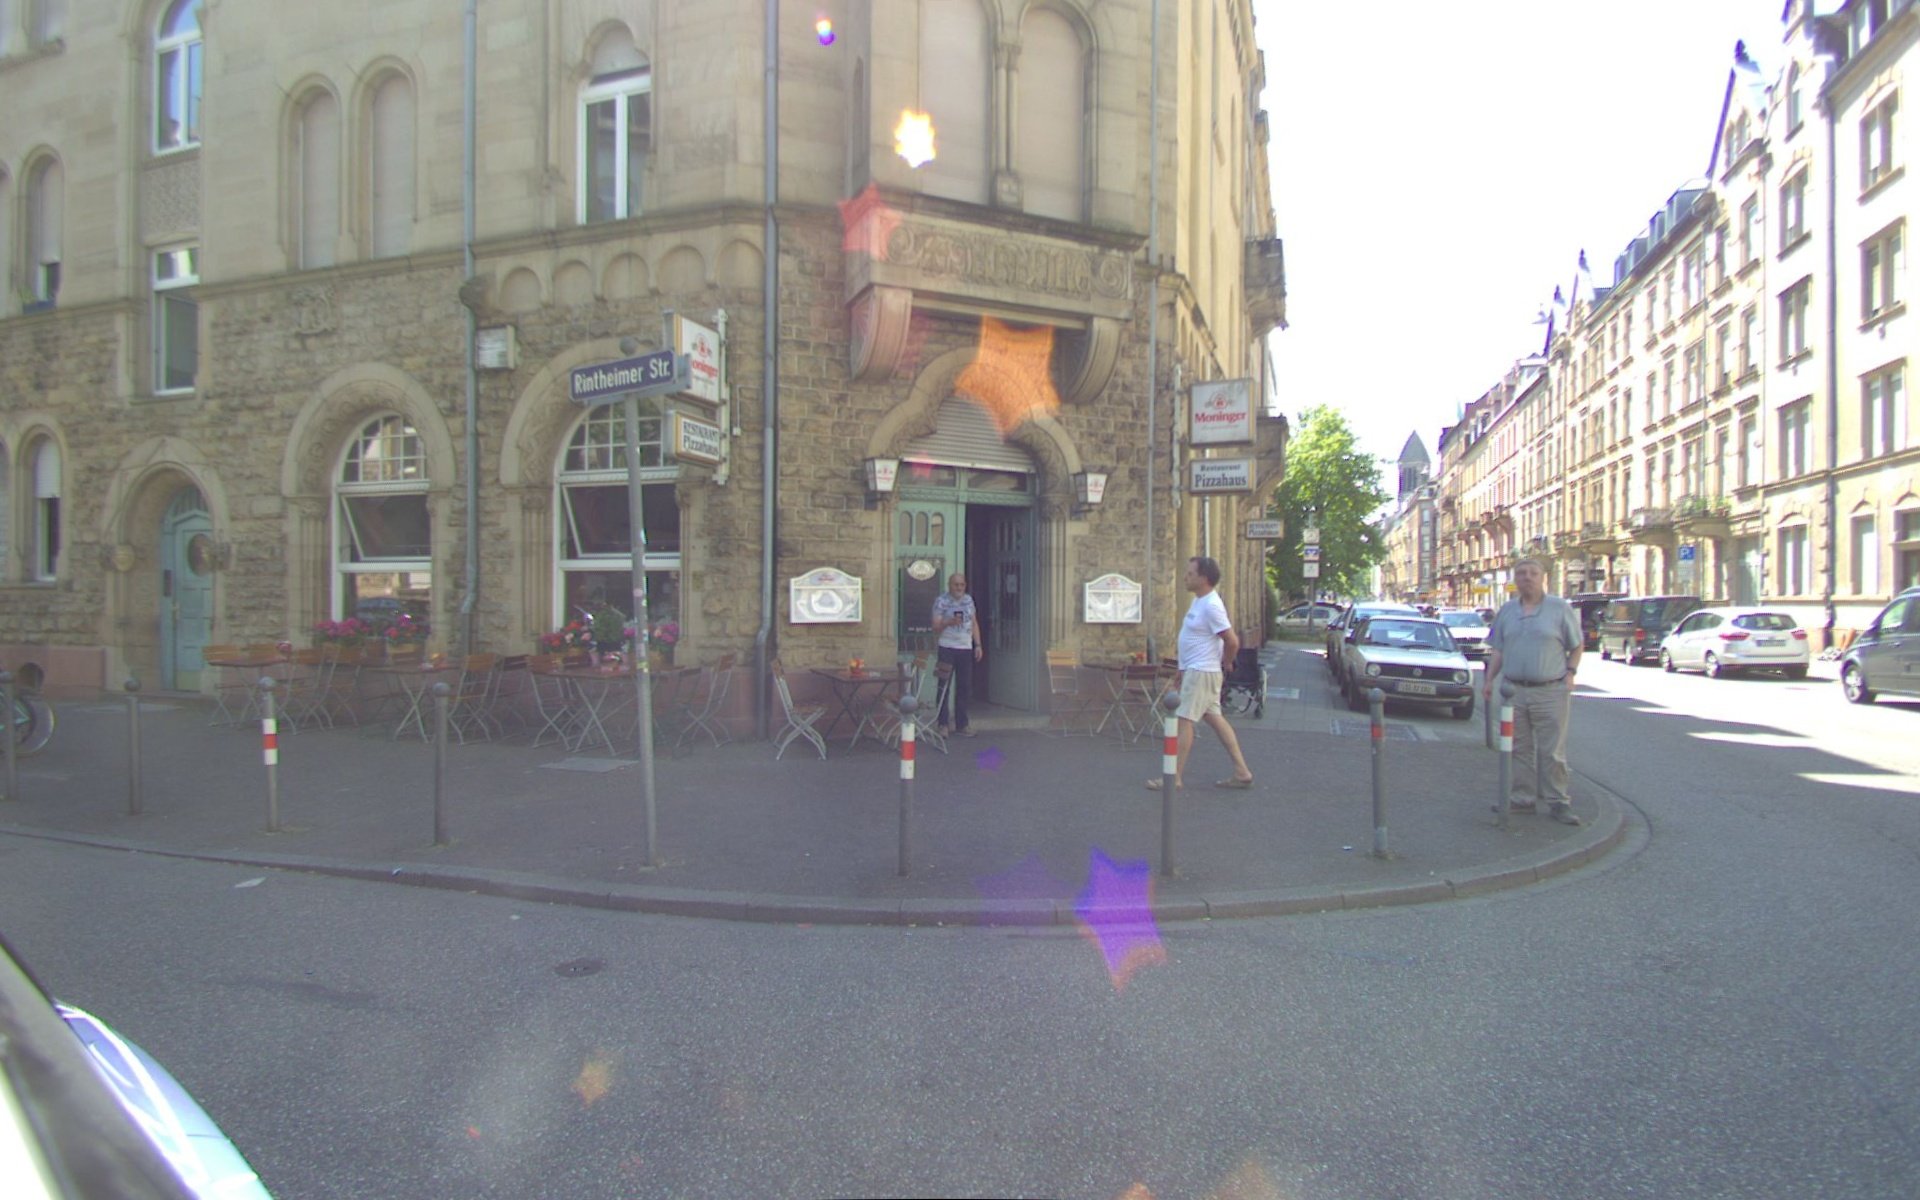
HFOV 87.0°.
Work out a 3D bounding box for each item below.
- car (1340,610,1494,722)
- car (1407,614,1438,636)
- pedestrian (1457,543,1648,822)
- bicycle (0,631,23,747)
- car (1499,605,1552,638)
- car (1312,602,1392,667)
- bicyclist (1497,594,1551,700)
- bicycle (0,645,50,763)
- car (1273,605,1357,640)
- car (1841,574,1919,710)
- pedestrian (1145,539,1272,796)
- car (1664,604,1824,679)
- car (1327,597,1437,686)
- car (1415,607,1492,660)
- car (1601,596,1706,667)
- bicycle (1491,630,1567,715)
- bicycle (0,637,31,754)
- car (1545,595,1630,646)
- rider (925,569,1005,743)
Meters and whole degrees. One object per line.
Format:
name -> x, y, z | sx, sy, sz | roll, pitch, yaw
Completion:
car -> 6.888, 0.923, 15.617 | 1.708, 1.436, 3.822 | 2, -1, 18
car -> 31.601, 1.702, 69.166 | 1.514, 1.456, 3.268 | 2, -1, 18
pedestrian -> 4.161, 0.546, 7.201 | 0.951, 1.828, 0.899 | 0, -1, 15
bicycle -> -9.930, 0.900, 9.310 | 0.432, 1.138, 1.991 | 0, 1, 16
car -> 26.485, 1.012, 47.502 | 1.514, 1.456, 3.268 | 2, -1, 18
car -> 9.817, 0.838, 25.523 | 1.625, 1.456, 3.531 | 2, -1, 18
bicyclist -> 8.762, 0.719, 15.742 | 0.619, 1.610, 0.672 | 0, -1, 20
bicycle -> -8.782, 0.949, 8.645 | 0.364, 1.015, 1.522 | 0, 2, 16
car -> 16.433, 1.032, 46.850 | 3.612, 1.570, 1.614 | 0, -1, 21
car -> 15.053, 0.601, 14.573 | 1.862, 2.013, 4.691 | -2, -2, 19
pedestrian -> 1.977, 0.504, 8.026 | 0.927, 1.903, 0.848 | 0, -1, 16
car -> 18.155, 0.933, 23.644 | 1.708, 1.594, 3.822 | -1, -2, 18
car -> 8.518, 0.804, 20.705 | 1.708, 1.594, 3.822 | 2, -1, 18
car -> 15.675, 1.030, 32.270 | 1.611, 1.570, 3.618 | 0, -1, 16
car -> 19.746, 0.879, 28.959 | 1.535, 1.899, 3.340 | -1, -2, 18
bicycle -> 8.729, 1.069, 15.618 | 0.608, 1.196, 2.289 | 0, -1, 19
bicycle -> -9.185, 0.907, 8.773 | 0.410, 1.053, 1.701 | 0, 2, 16
car -> 22.830, 0.761, 36.955 | 1.708, 1.743, 3.822 | -1, -2, 18
rider -> 0.044, 0.560, 10.339 | 0.631, 1.710, 0.542 | 1, -1, -25
